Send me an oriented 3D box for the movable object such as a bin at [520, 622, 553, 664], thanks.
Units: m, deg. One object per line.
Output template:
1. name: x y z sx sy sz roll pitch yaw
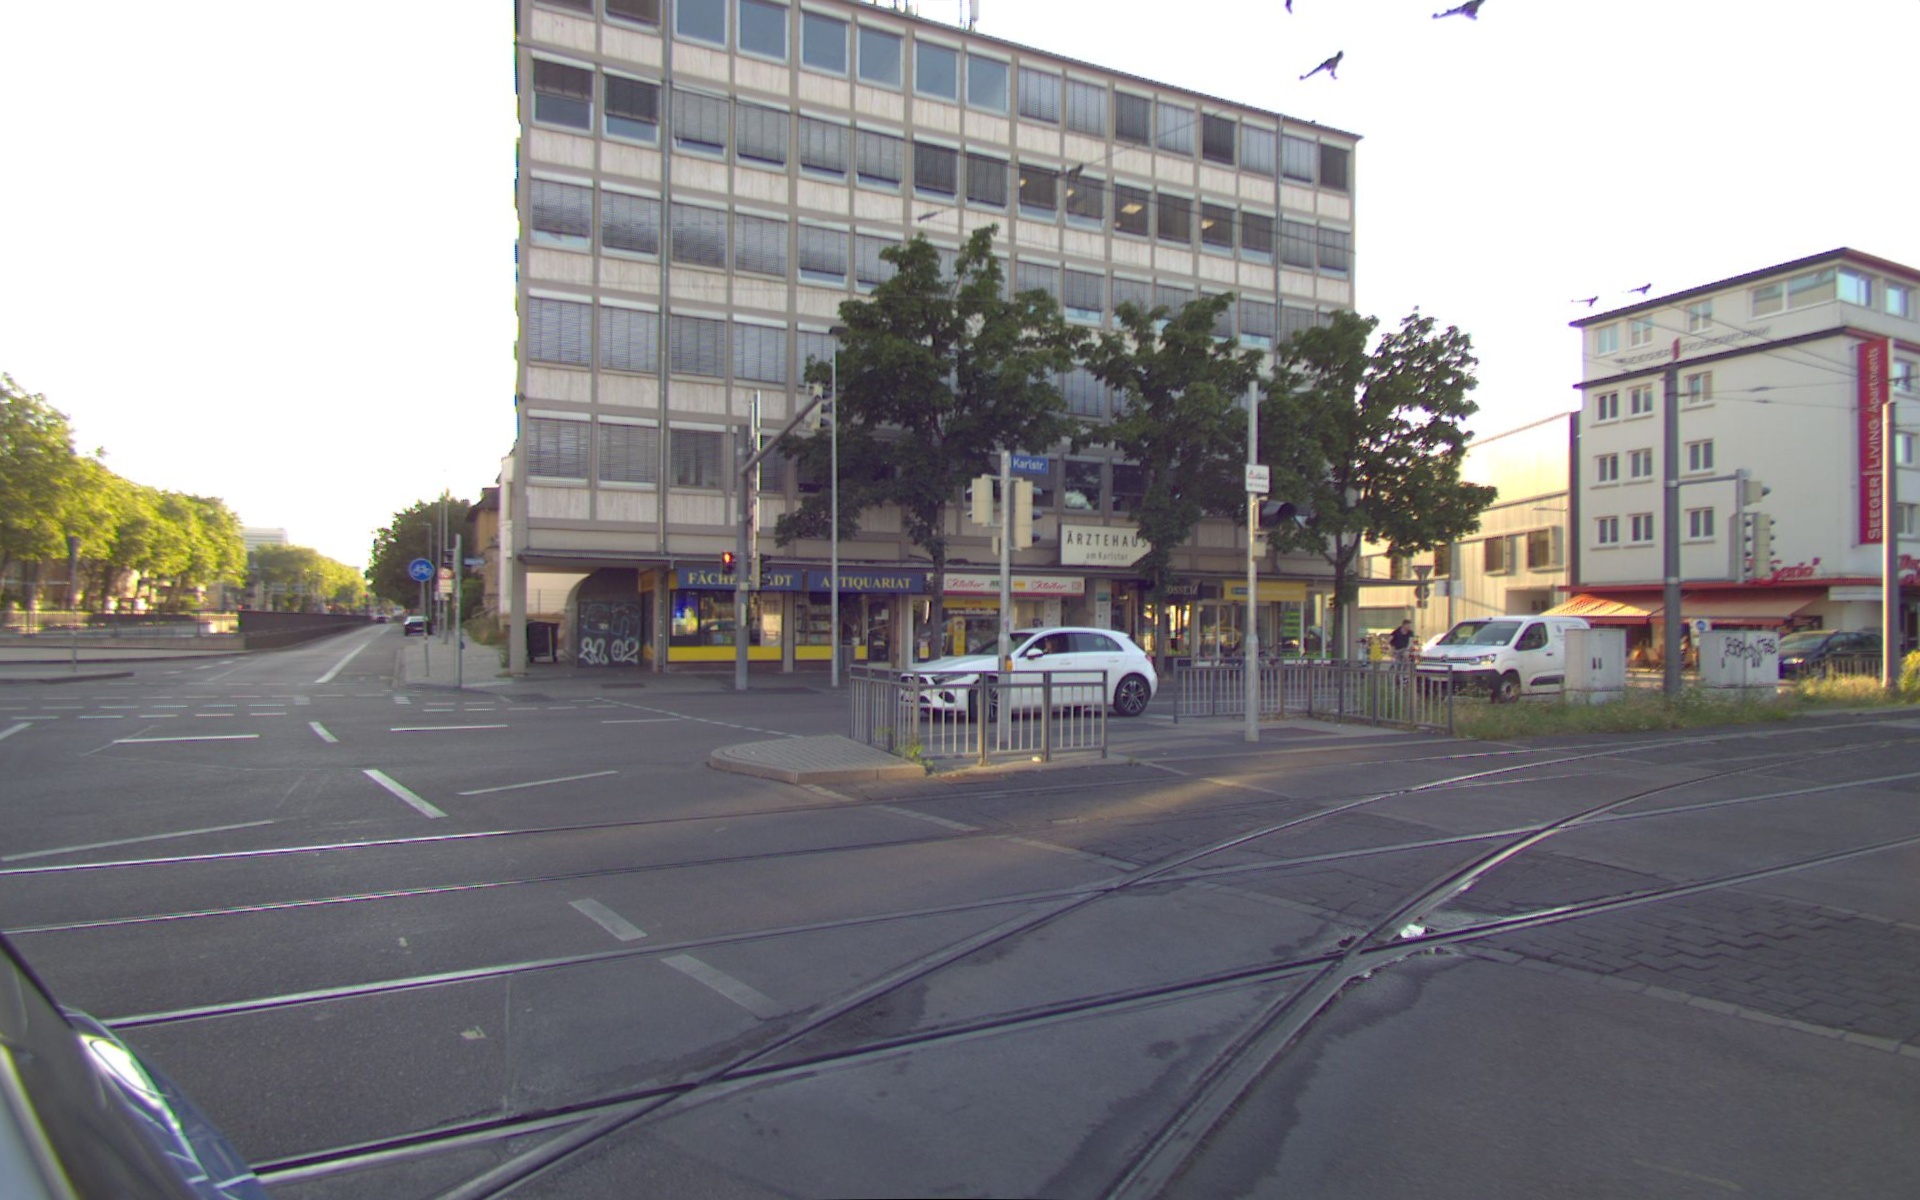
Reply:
1. movable object such as a bin: -13.919 1.392 33.298 0.943 1.337 1.419 1 -1 -21

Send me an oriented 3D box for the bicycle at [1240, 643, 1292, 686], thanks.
1. bicycle: 9.069 1.902 30.059 0.529 1.194 1.643 2 -1 -24

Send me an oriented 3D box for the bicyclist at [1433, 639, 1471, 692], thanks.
1. bicyclist: 13.113 1.738 26.987 0.674 1.380 0.716 2 -2 -43

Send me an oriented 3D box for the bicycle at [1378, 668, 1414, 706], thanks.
1. bicycle: 10.714 2.115 24.848 0.613 0.831 1.787 0 -2 30

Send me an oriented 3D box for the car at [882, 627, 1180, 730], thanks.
1. car: 1.182 1.245 16.229 4.484 1.460 1.822 2 -4 -28

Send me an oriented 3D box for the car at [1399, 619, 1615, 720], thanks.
1. car: 11.357 1.358 20.903 4.795 1.852 2.006 2 -2 -35

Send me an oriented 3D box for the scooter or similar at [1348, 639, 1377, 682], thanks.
1. scooter or similar: 12.841 1.929 32.344 0.508 1.332 1.278 1 -2 5

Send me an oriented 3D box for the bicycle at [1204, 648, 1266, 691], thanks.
1. bicycle: 8.100 2.042 29.867 0.655 1.149 1.751 2 -1 -32

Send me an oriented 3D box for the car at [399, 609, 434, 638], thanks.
1. car: -39.576 1.688 73.744 1.965 2.029 4.276 2 -2 -25

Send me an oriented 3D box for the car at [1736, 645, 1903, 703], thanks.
1. car: 25.700 2.189 30.281 4.228 1.586 2.006 2 -1 -20

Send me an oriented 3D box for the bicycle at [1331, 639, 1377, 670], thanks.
1. bicycle: 16.830 2.316 43.250 1.752 1.195 0.555 3 -2 -7

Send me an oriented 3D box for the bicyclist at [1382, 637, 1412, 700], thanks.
1. bicyclist: 10.728 1.676 24.841 0.612 1.498 0.711 0 -2 29
